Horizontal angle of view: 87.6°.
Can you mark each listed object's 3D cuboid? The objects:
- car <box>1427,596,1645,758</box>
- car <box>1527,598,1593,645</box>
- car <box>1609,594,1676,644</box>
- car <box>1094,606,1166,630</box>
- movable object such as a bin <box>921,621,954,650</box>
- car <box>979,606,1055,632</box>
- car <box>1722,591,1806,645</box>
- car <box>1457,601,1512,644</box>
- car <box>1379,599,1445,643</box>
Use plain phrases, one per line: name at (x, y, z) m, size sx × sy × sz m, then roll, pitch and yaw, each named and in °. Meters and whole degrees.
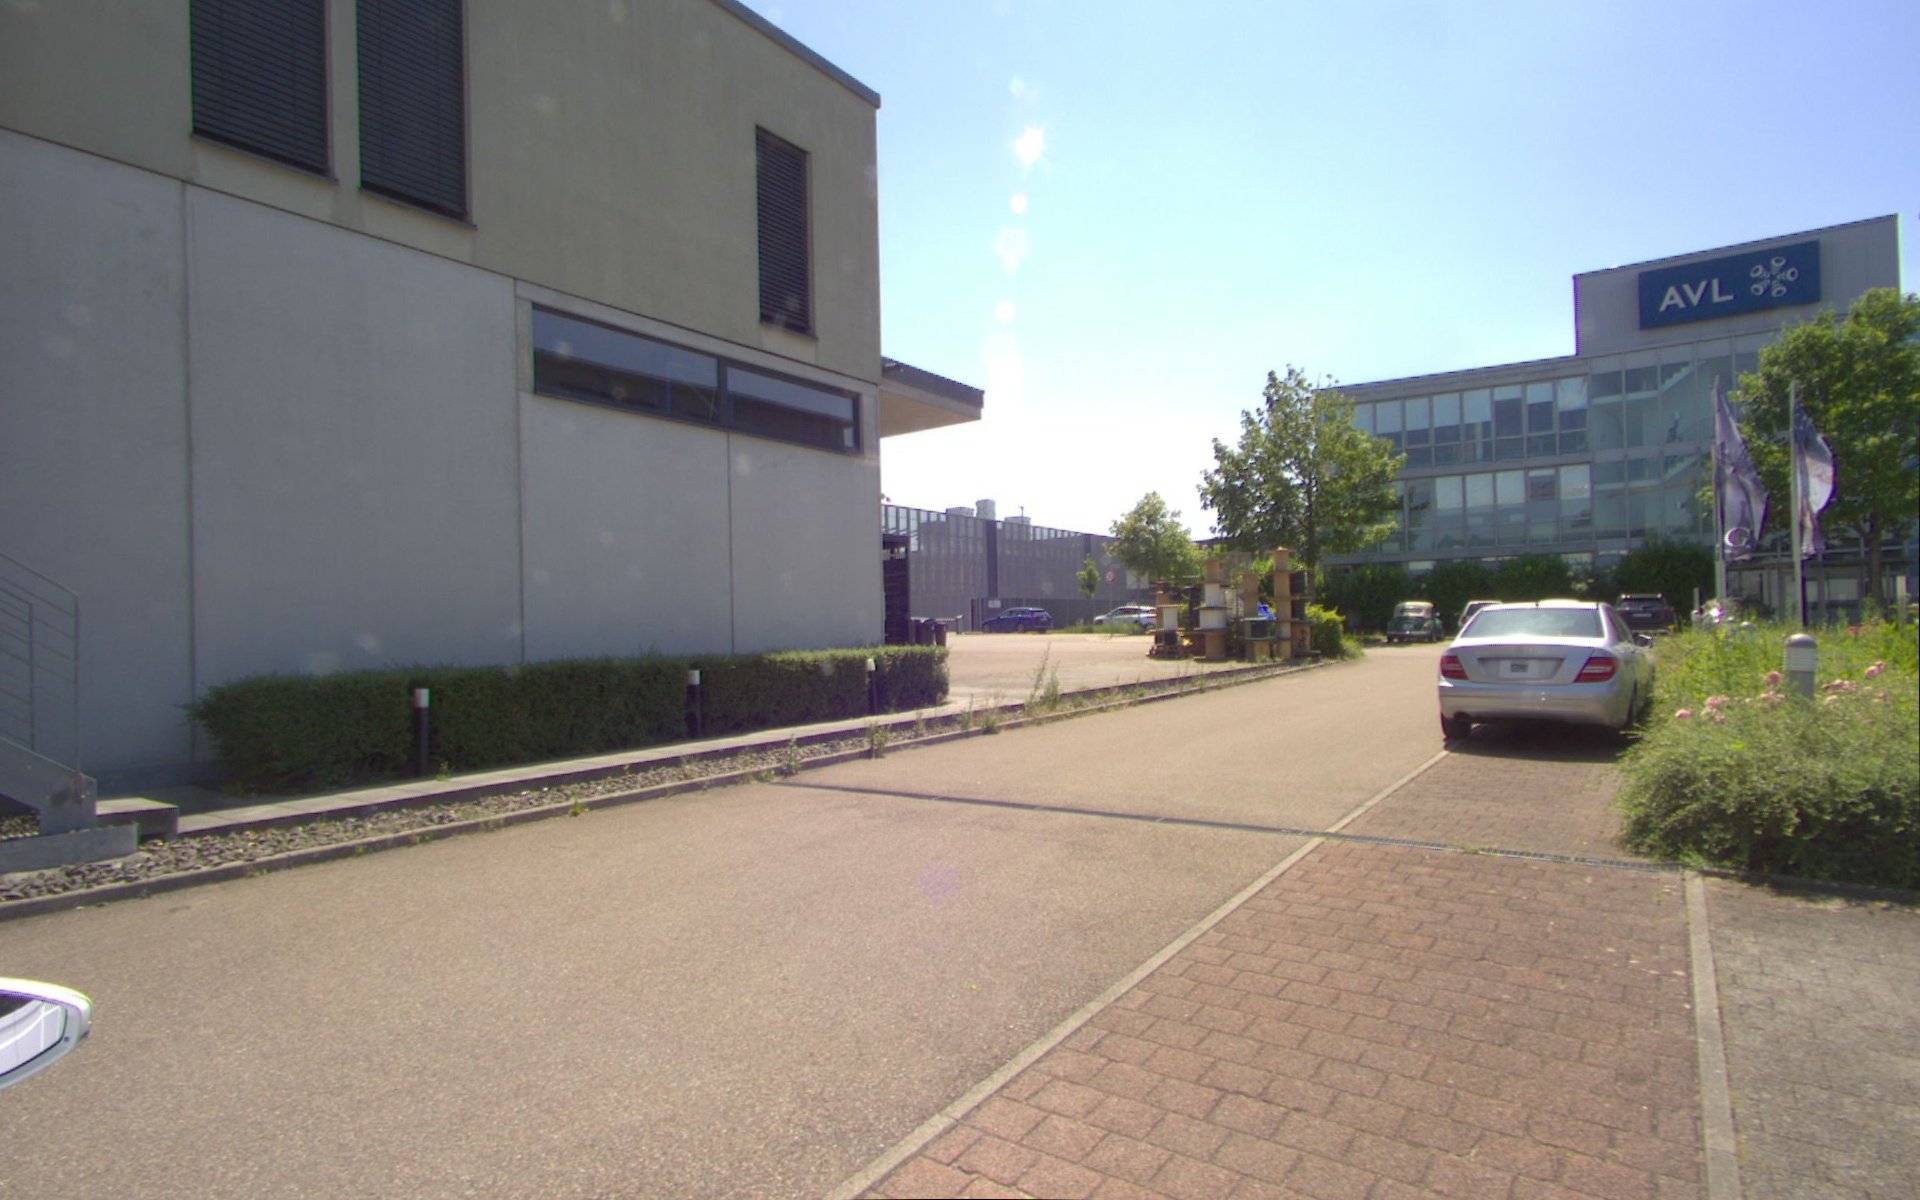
car at (6.427, 0.740, 10.985) m, size 1.707 × 1.455 × 3.693 m, roll -1°, pitch -1°, yaw 36°
car at (20.874, 0.742, 34.954) m, size 1.722 × 1.538 × 3.985 m, roll -1°, pitch -1°, yaw 28°
car at (22.546, 0.649, 33.084) m, size 1.726 × 1.538 × 3.976 m, roll -1°, pitch -1°, yaw 35°
car at (10.639, 1.141, 62.930) m, size 1.731 × 1.433 × 4.409 m, roll 2°, pitch -2°, yaw -41°
movable object such as a bin at (-0.766, 1.211, 34.199) m, size 0.806 × 0.993 × 0.805 m, roll -1°, pitch -1°, yaw 35°
car at (3.162, 1.092, 56.519) m, size 1.731 × 1.433 × 4.411 m, roll 2°, pitch -2°, yaw -40°
car at (24.862, 0.571, 31.078) m, size 1.726 × 1.538 × 3.976 m, roll -1°, pitch -1°, yaw 35°
car at (18.695, 0.805, 35.686) m, size 1.648 × 1.459 × 3.985 m, roll -1°, pitch -1°, yaw 28°
car at (16.710, 0.779, 36.917) m, size 1.725 × 1.538 × 3.980 m, roll -1°, pitch -1°, yaw 32°
